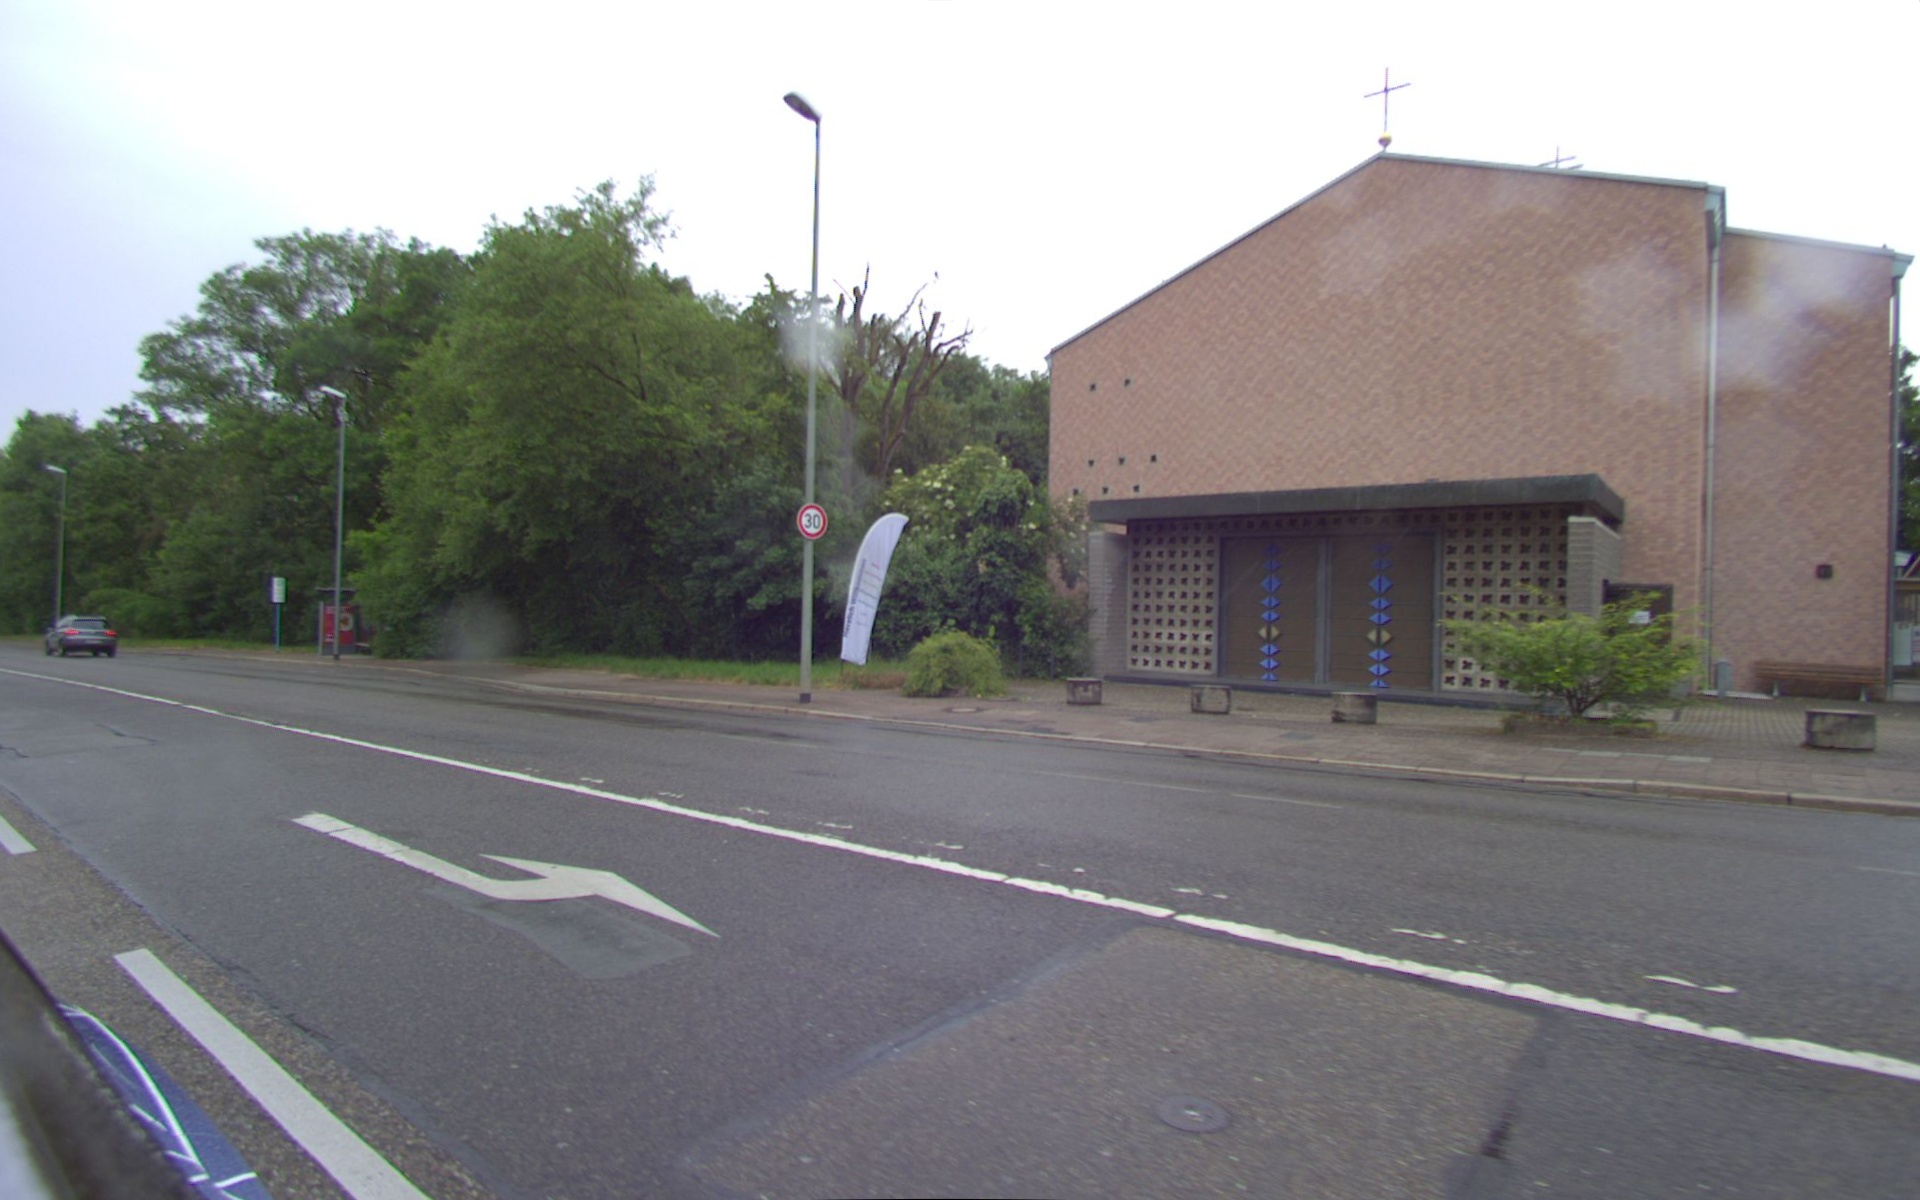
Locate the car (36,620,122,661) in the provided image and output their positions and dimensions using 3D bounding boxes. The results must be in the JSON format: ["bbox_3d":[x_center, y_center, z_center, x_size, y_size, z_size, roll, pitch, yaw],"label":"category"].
[{"bbox_3d":[-36.794,1.667,42.244,4.311,1.603,1.890,-1,-3,38],"label":"car"}]
